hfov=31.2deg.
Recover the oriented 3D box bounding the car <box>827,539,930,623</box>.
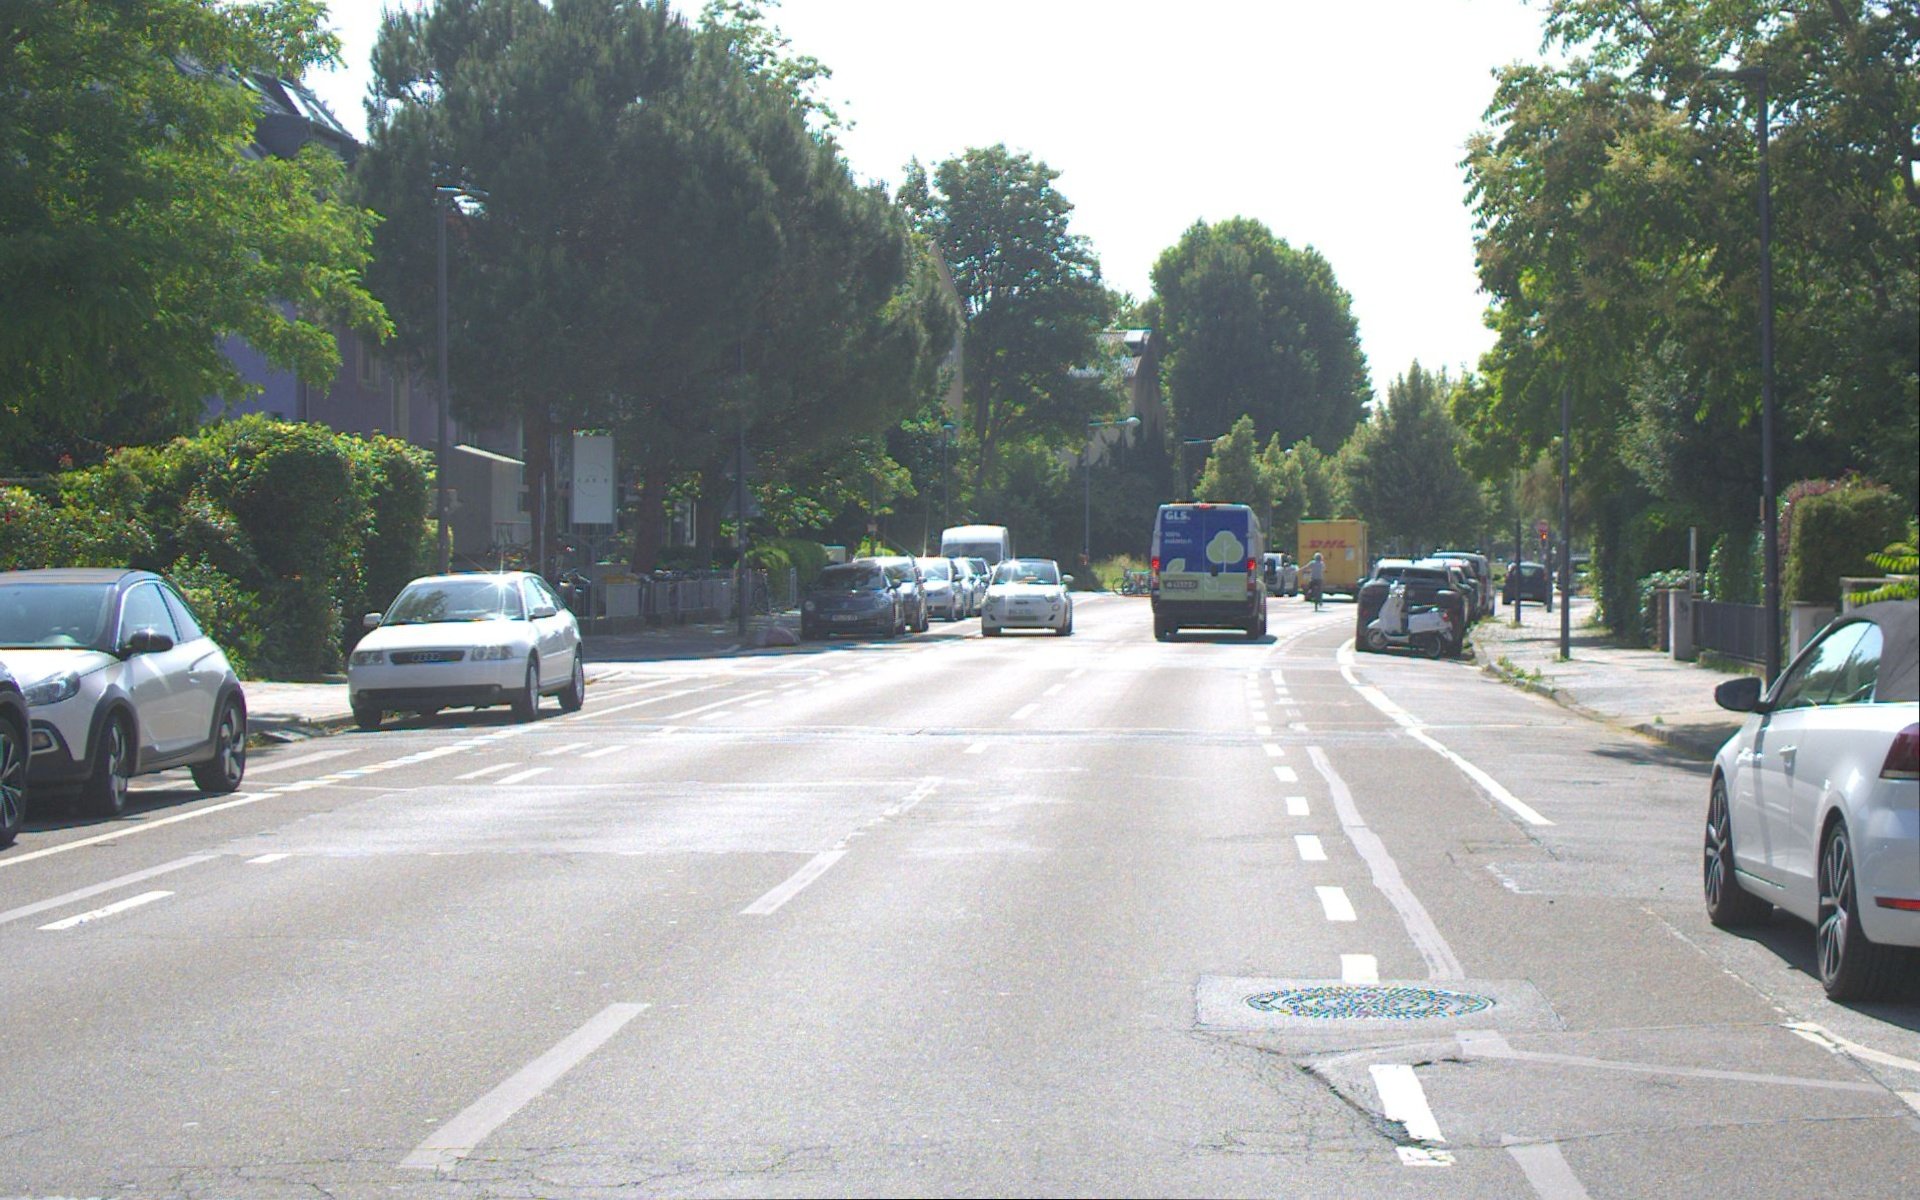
[{"bbox_3d":[-1.718,-0.426,73.839,1.909,1.671,4.259,-1,1,2],"label":"car"}]

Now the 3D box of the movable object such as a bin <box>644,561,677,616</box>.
[{"bbox_3d":[-6.158,-0.237,70.642,0.544,1.107,0.584,0,0,10],"label":"movable object such as a bin"}]

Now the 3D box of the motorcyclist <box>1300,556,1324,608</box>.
[{"bbox_3d":[10.295,-0.521,100.548,0.672,1.513,0.652,0,0,6],"label":"motorcyclist"}]

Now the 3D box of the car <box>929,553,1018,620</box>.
[{"bbox_3d":[0.354,-0.330,84.860,1.835,1.590,3.774,0,0,6],"label":"car"}]

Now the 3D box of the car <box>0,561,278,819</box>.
[{"bbox_3d":[-5.765,0.491,21.741,1.785,1.435,3.999,1,1,5],"label":"car"}]

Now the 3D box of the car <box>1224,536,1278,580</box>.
[{"bbox_3d":[11.184,-1.622,131.852,1.994,1.652,4.604,0,1,5],"label":"car"}]

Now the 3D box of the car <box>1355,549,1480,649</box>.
[{"bbox_3d":[8.120,-0.043,60.704,1.786,1.632,4.468,2,1,12],"label":"car"}]

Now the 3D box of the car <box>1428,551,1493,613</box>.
[{"bbox_3d":[13.720,-0.513,94.408,1.701,1.671,3.774,0,1,7],"label":"car"}]

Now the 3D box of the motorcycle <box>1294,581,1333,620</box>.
[{"bbox_3d":[10.353,-0.008,100.777,1.056,1.119,2.991,0,0,5],"label":"motorcycle"}]

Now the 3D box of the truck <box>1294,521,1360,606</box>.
[{"bbox_3d":[12.967,-1.276,121.765,2.214,2.936,5.685,0,0,5],"label":"truck"}]

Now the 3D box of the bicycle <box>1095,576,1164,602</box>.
[{"bbox_3d":[6.845,-0.431,139.265,2.687,1.044,1.026,0,0,-3],"label":"bicycle"}]

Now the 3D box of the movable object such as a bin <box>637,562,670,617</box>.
[{"bbox_3d":[-6.239,-0.216,70.008,0.544,1.107,0.518,0,0,10],"label":"movable object such as a bin"}]

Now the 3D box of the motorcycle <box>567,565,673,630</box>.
[{"bbox_3d":[-6.295,-0.050,63.724,1.840,1.178,0.642,0,0,10],"label":"motorcycle"}]

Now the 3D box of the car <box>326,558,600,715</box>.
[{"bbox_3d":[-4.805,0.312,33.742,1.785,1.435,3.999,0,1,5],"label":"car"}]

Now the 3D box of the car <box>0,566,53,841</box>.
[{"bbox_3d":[-6.044,0.572,16.799,1.785,1.435,4.110,-1,1,5],"label":"car"}]

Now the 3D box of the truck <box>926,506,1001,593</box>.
[{"bbox_3d":[0.139,-1.529,103.292,2.081,2.528,5.467,0,1,2],"label":"truck"}]

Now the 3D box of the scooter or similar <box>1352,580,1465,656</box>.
[{"bbox_3d":[7.561,0.303,57.957,0.718,1.150,1.797,3,1,-41],"label":"scooter or similar"}]

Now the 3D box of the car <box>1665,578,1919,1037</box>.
[{"bbox_3d":[3.864,0.693,12.920,1.740,1.397,4.073,3,1,3],"label":"car"}]

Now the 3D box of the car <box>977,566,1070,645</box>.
[{"bbox_3d":[1.314,0.100,69.692,1.732,1.536,4.000,-1,0,3],"label":"car"}]

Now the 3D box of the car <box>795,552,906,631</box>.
[{"bbox_3d":[-2.137,-0.188,67.952,1.781,1.455,4.086,-2,1,4],"label":"car"}]

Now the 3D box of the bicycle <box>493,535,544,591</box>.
[{"bbox_3d":[-9.548,-0.807,74.429,0.537,1.177,1.445,1,3,17],"label":"bicycle"}]

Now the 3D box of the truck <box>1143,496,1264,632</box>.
[{"bbox_3d":[4.800,-0.700,67.395,2.273,2.562,4.391,0,0,5],"label":"truck"}]

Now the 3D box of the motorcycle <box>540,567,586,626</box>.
[{"bbox_3d":[-8.003,-0.074,69.351,0.537,1.178,1.446,0,0,10],"label":"motorcycle"}]
